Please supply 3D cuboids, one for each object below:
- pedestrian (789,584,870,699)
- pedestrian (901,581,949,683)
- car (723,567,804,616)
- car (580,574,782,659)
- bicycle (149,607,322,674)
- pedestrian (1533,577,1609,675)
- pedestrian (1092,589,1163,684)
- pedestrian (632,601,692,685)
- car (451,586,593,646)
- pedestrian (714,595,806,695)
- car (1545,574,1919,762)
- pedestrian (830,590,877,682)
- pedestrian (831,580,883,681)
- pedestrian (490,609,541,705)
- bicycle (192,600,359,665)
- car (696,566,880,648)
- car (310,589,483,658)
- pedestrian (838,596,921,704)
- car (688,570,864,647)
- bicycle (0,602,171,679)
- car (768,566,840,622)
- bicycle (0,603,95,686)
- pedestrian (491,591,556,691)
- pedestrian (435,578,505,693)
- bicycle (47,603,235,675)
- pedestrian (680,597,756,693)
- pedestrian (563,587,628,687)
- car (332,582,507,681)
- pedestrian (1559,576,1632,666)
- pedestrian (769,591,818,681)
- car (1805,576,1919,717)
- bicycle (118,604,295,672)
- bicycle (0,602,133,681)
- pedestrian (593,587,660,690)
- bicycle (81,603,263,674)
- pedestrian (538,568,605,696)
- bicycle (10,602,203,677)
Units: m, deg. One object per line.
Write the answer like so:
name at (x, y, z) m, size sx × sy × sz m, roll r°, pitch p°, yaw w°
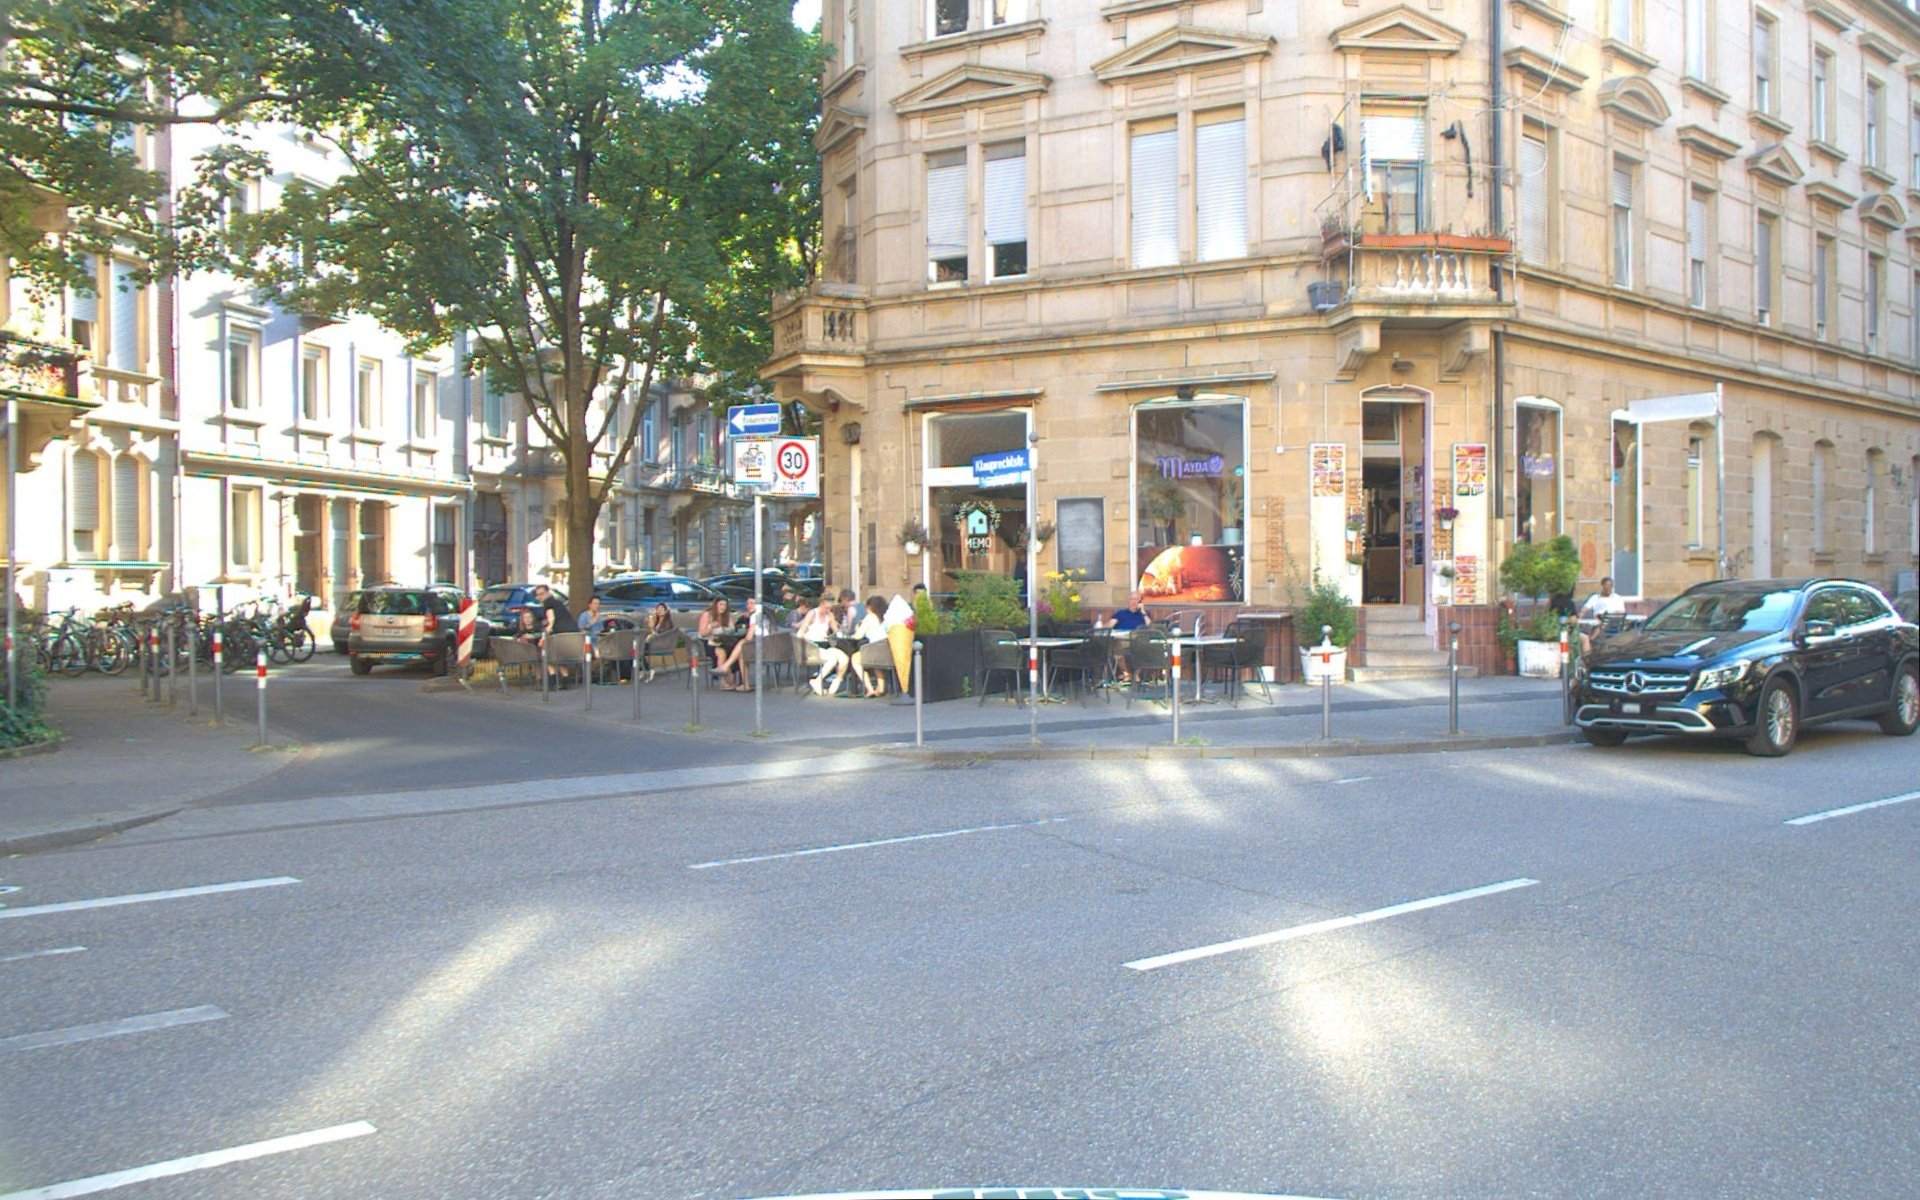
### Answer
pedestrian at (-1.685, 0.522, 21.334) m, size 0.741 × 1.435 × 0.725 m, roll 0°, pitch 0°, yaw 35°
pedestrian at (-0.489, 0.441, 23.007) m, size 0.473 × 1.391 × 0.432 m, roll -1°, pitch 1°, yaw 38°
car at (-7.131, -0.313, 60.254) m, size 1.768 × 1.713 × 3.755 m, roll -1°, pitch 1°, yaw 12°
car at (-5.596, 0.308, 33.107) m, size 3.766 × 1.589 × 1.793 m, roll -1°, pitch 0°, yaw -19°
bicycle at (-13.481, 0.756, 30.788) m, size 3.060 × 1.201 × 0.753 m, roll -1°, pitch 0°, yaw 12°
pedestrian at (8.283, 0.342, 22.418) m, size 0.715 × 1.281 × 0.751 m, roll 0°, pitch 1°, yaw 45°
pedestrian at (2.240, 0.476, 22.094) m, size 0.711 × 1.235 × 0.756 m, roll 0°, pitch 0°, yaw 28°
pedestrian at (-4.538, 0.651, 25.142) m, size 0.669 × 1.237 × 0.660 m, roll -2°, pitch 0°, yaw -33°
car at (-10.843, 0.378, 41.196) m, size 1.882 × 1.400 × 3.755 m, roll -1°, pitch 1°, yaw 12°
pedestrian at (-2.674, 0.583, 22.081) m, size 1.007 × 1.270 × 0.744 m, roll 0°, pitch 1°, yaw 44°
car at (7.403, 0.550, 15.553) m, size 4.099 × 1.514 × 1.739 m, roll -1°, pitch 0°, yaw -40°
pedestrian at (-1.515, 0.507, 23.505) m, size 0.474 × 1.270 × 0.431 m, roll 0°, pitch 1°, yaw 45°
pedestrian at (-1.507, 0.439, 24.193) m, size 0.558 × 1.456 × 0.480 m, roll -1°, pitch 1°, yaw 36°
pedestrian at (-6.412, 0.810, 23.866) m, size 0.565 × 1.343 × 0.499 m, roll -2°, pitch 1°, yaw -33°
bicycle at (-13.196, 0.622, 31.896) m, size 3.060 × 1.201 × 0.753 m, roll -1°, pitch 0°, yaw 12°
car at (-3.747, 0.132, 36.533) m, size 3.908 × 1.713 × 1.998 m, roll -1°, pitch 0°, yaw -4°
car at (-12.221, 0.483, 36.123) m, size 1.882 × 1.400 × 3.755 m, roll -1°, pitch 1°, yaw 12°
pedestrian at (-1.011, 0.613, 20.840) m, size 0.731 × 1.312 × 0.740 m, roll 0°, pitch 0°, yaw 37°
car at (-4.381, 0.182, 39.163) m, size 3.919 × 1.713 × 1.993 m, roll -1°, pitch 0°, yaw -14°
bicycle at (-14.378, 0.650, 26.758) m, size 3.060 × 1.201 × 0.753 m, roll -1°, pitch 0°, yaw 12°
car at (-6.131, -0.245, 65.455) m, size 1.768 × 2.121 × 3.755 m, roll -1°, pitch 1°, yaw 12°
bicycle at (-14.734, 0.673, 25.099) m, size 3.060 × 1.201 × 0.753 m, roll -1°, pitch 0°, yaw 12°
pedestrian at (-6.513, 0.601, 24.672) m, size 0.756 × 1.437 × 0.661 m, roll -2°, pitch 0°, yaw -29°
pedestrian at (-7.461, 0.530, 25.165) m, size 0.657 × 1.699 × 0.761 m, roll -2°, pitch 0°, yaw 45°
bicycle at (-14.035, 0.667, 28.345) m, size 3.060 × 1.201 × 0.753 m, roll -1°, pitch 0°, yaw 12°
pedestrian at (-3.316, 0.602, 22.704) m, size 0.695 × 1.270 × 0.744 m, roll 0°, pitch 1°, yaw 44°
pedestrian at (-5.543, 0.561, 25.143) m, size 0.757 × 1.467 × 0.661 m, roll -2°, pitch 0°, yaw -31°
car at (-10.134, 0.537, 31.328) m, size 1.952 × 1.713 × 4.000 m, roll -1°, pitch 1°, yaw 0°
pedestrian at (8.975, 0.289, 23.355) m, size 0.715 × 1.235 × 0.751 m, roll 0°, pitch 1°, yaw 45°
pedestrian at (-2.416, 0.516, 24.037) m, size 0.474 × 1.270 × 0.507 m, roll 0°, pitch 1°, yaw 44°
car at (11.621, 0.451, 18.959) m, size 4.504 × 1.477 × 1.740 m, roll -1°, pitch 0°, yaw -38°
bicycle at (-13.651, 0.687, 29.958) m, size 3.060 × 1.201 × 0.753 m, roll -1°, pitch 0°, yaw 12°
bicycle at (-14.575, 0.648, 25.931) m, size 3.060 × 1.201 × 0.753 m, roll -1°, pitch 0°, yaw 12°
pedestrian at (-4.912, 0.552, 24.341) m, size 0.757 × 1.467 × 0.661 m, roll -2°, pitch 0°, yaw -31°
bicycle at (-13.878, 0.676, 29.142) m, size 3.060 × 1.201 × 0.753 m, roll -1°, pitch 0°, yaw 12°
pedestrian at (-5.603, 0.456, 23.826) m, size 0.757 × 1.801 × 0.566 m, roll -2°, pitch 0°, yaw -31°
bicycle at (-14.200, 0.657, 27.529) m, size 3.060 × 1.201 × 0.753 m, roll -1°, pitch 0°, yaw 12°
